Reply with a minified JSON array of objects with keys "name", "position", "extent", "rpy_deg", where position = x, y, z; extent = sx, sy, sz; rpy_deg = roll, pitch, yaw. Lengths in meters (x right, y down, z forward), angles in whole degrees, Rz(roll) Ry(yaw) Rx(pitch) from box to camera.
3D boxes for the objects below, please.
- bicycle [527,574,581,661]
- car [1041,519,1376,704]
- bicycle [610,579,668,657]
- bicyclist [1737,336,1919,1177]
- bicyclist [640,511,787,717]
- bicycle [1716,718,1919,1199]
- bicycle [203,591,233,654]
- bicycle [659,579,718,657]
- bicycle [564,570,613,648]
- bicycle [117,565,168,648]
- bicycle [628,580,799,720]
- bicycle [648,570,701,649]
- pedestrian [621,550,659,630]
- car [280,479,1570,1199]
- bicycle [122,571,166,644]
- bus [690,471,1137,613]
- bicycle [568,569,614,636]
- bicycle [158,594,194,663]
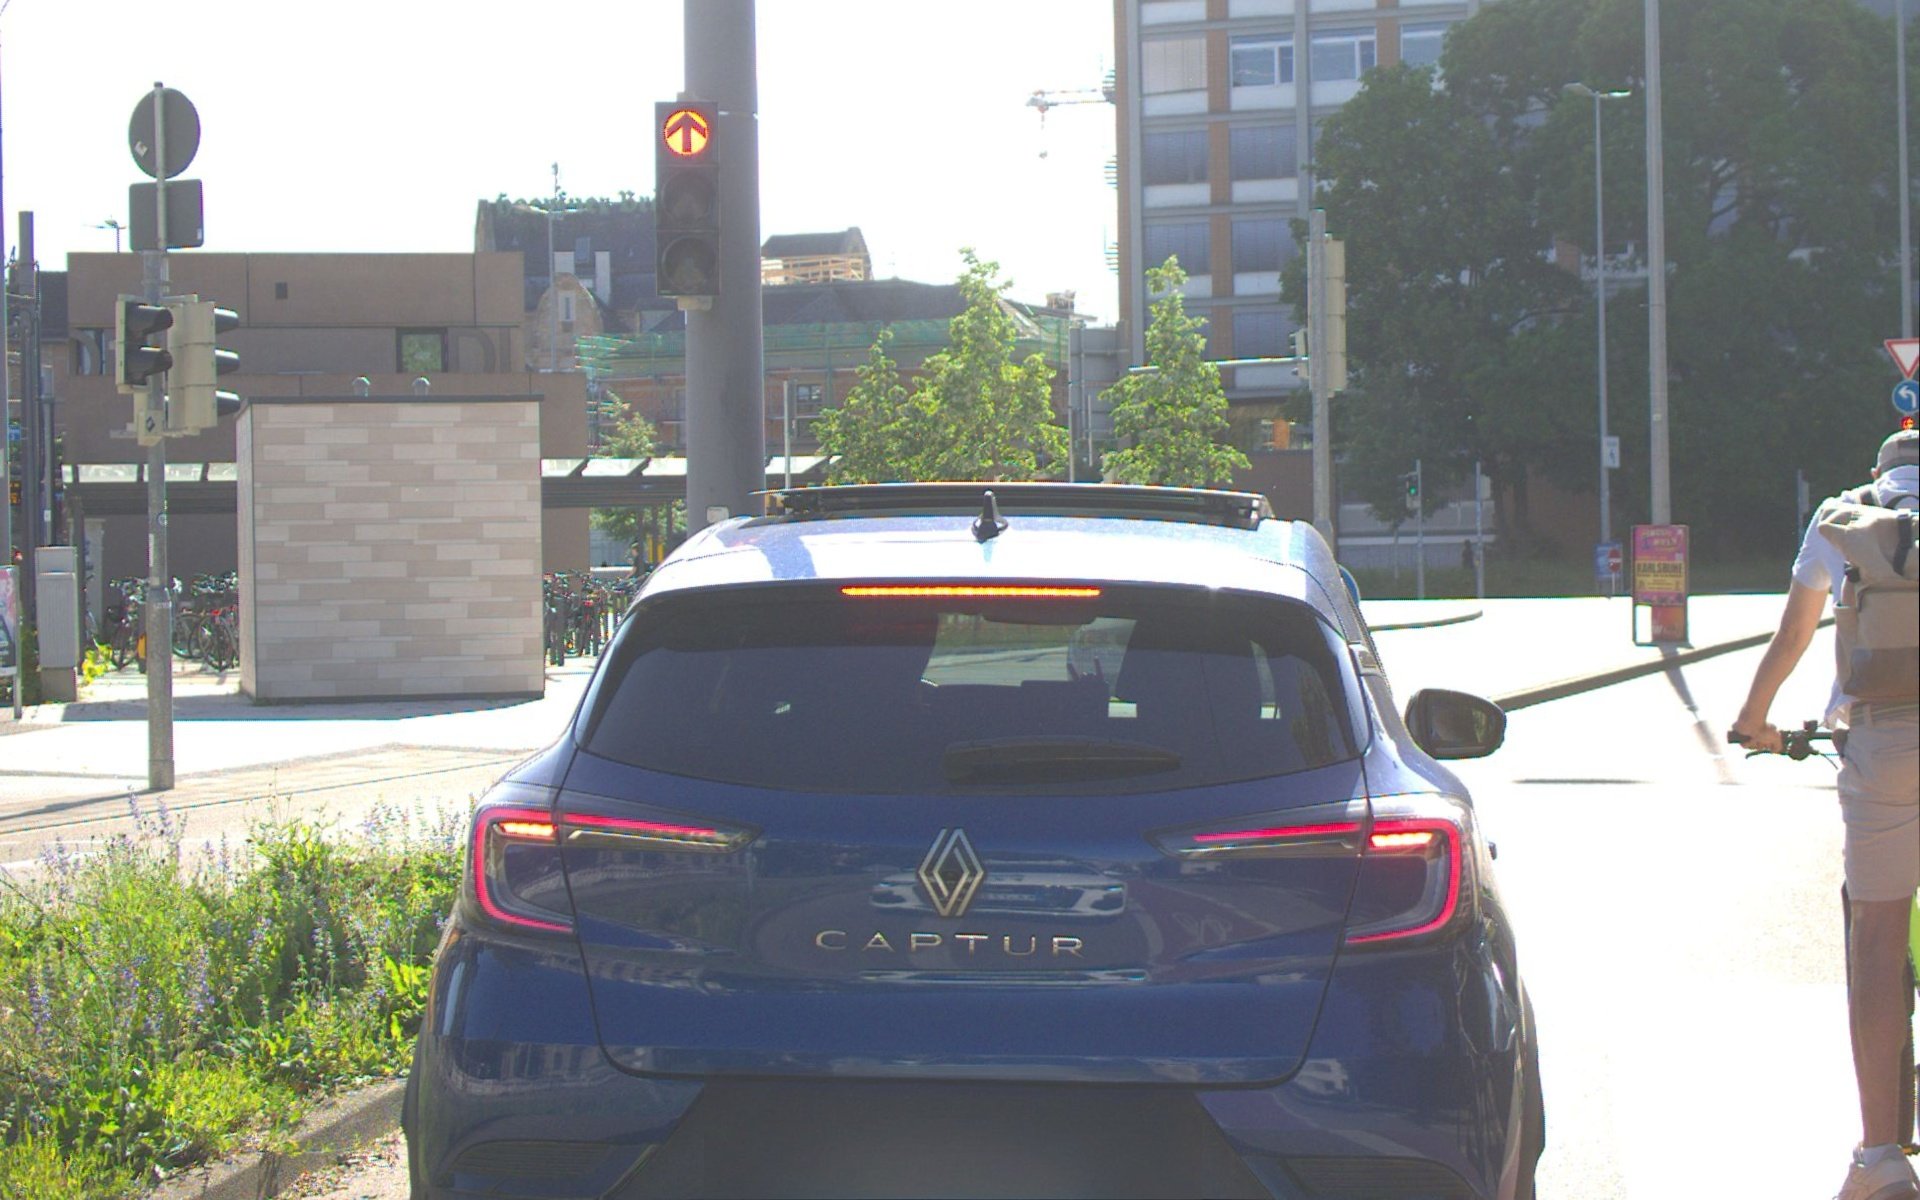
[{"name":"bicycle","position":[-5.043,0.218,42.661],"extent":[0.580,1.054,1.817],"rpy_deg":[0,0,-9]},{"name":"car","position":[2.258,0.059,30.152],"extent":[1.802,1.388,4.089],"rpy_deg":[-1,3,21]},{"name":"bicycle","position":[-4.026,0.223,43.036],"extent":[0.580,0.958,2.059],"rpy_deg":[0,0,-9]},{"name":"bicyclist","position":[2.116,0.316,7.601],"extent":[0.664,1.741,1.005],"rpy_deg":[0,1,7]},{"name":"bicyclist","position":[-2.008,0.110,28.123],"extent":[0.880,1.639,1.060],"rpy_deg":[-1,0,14]},{"name":"bicycle","position":[2.120,0.834,7.642],"extent":[0.663,1.043,1.890],"rpy_deg":[0,1,6]},{"name":"bicycle","position":[-11.360,0.339,52.654],"extent":[0.421,0.934,1.379],"rpy_deg":[1,0,-11]},{"name":"bicycle","position":[-3.414,0.225,43.124],"extent":[0.580,0.958,2.059],"rpy_deg":[0,0,-9]},{"name":"bicycle","position":[-5.267,0.132,48.695],"extent":[0.580,1.084,2.059],"rpy_deg":[0,0,-9]},{"name":"bicycle","position":[-10.909,0.087,45.909],"extent":[0.565,1.090,2.030],"rpy_deg":[0,0,-11]},{"name":"bicycle","position":[-1.994,0.393,28.085],"extent":[0.773,1.077,2.034],"rpy_deg":[-1,0,14]},{"name":"bicycle","position":[-4.057,0.137,48.767],"extent":[0.580,1.084,2.059],"rpy_deg":[0,0,-9]},{"name":"pedestrian","position":[-7.444,-0.234,79.962],"extent":[0.726,1.850,0.702],"rpy_deg":[0,0,8]},{"name":"car","position":[0.097,0.602,6.686],"extent":[1.823,1.594,3.658],"rpy_deg":[1,1,5]},{"name":"bicycle","position":[-12.382,0.112,52.218],"extent":[0.565,1.090,2.030],"rpy_deg":[0,0,-11]},{"name":"bus","position":[-1.368,-1.375,86.873],"extent":[12.434,3.384,2.876],"rpy_deg":[0,0,40]},{"name":"bicycle","position":[-6.031,0.045,56.169],"extent":[0.580,1.084,1.872],"rpy_deg":[0,0,-11]},{"name":"bicycle","position":[-10.860,0.392,47.632],"extent":[0.421,0.934,1.306],"rpy_deg":[1,0,-15]}]
